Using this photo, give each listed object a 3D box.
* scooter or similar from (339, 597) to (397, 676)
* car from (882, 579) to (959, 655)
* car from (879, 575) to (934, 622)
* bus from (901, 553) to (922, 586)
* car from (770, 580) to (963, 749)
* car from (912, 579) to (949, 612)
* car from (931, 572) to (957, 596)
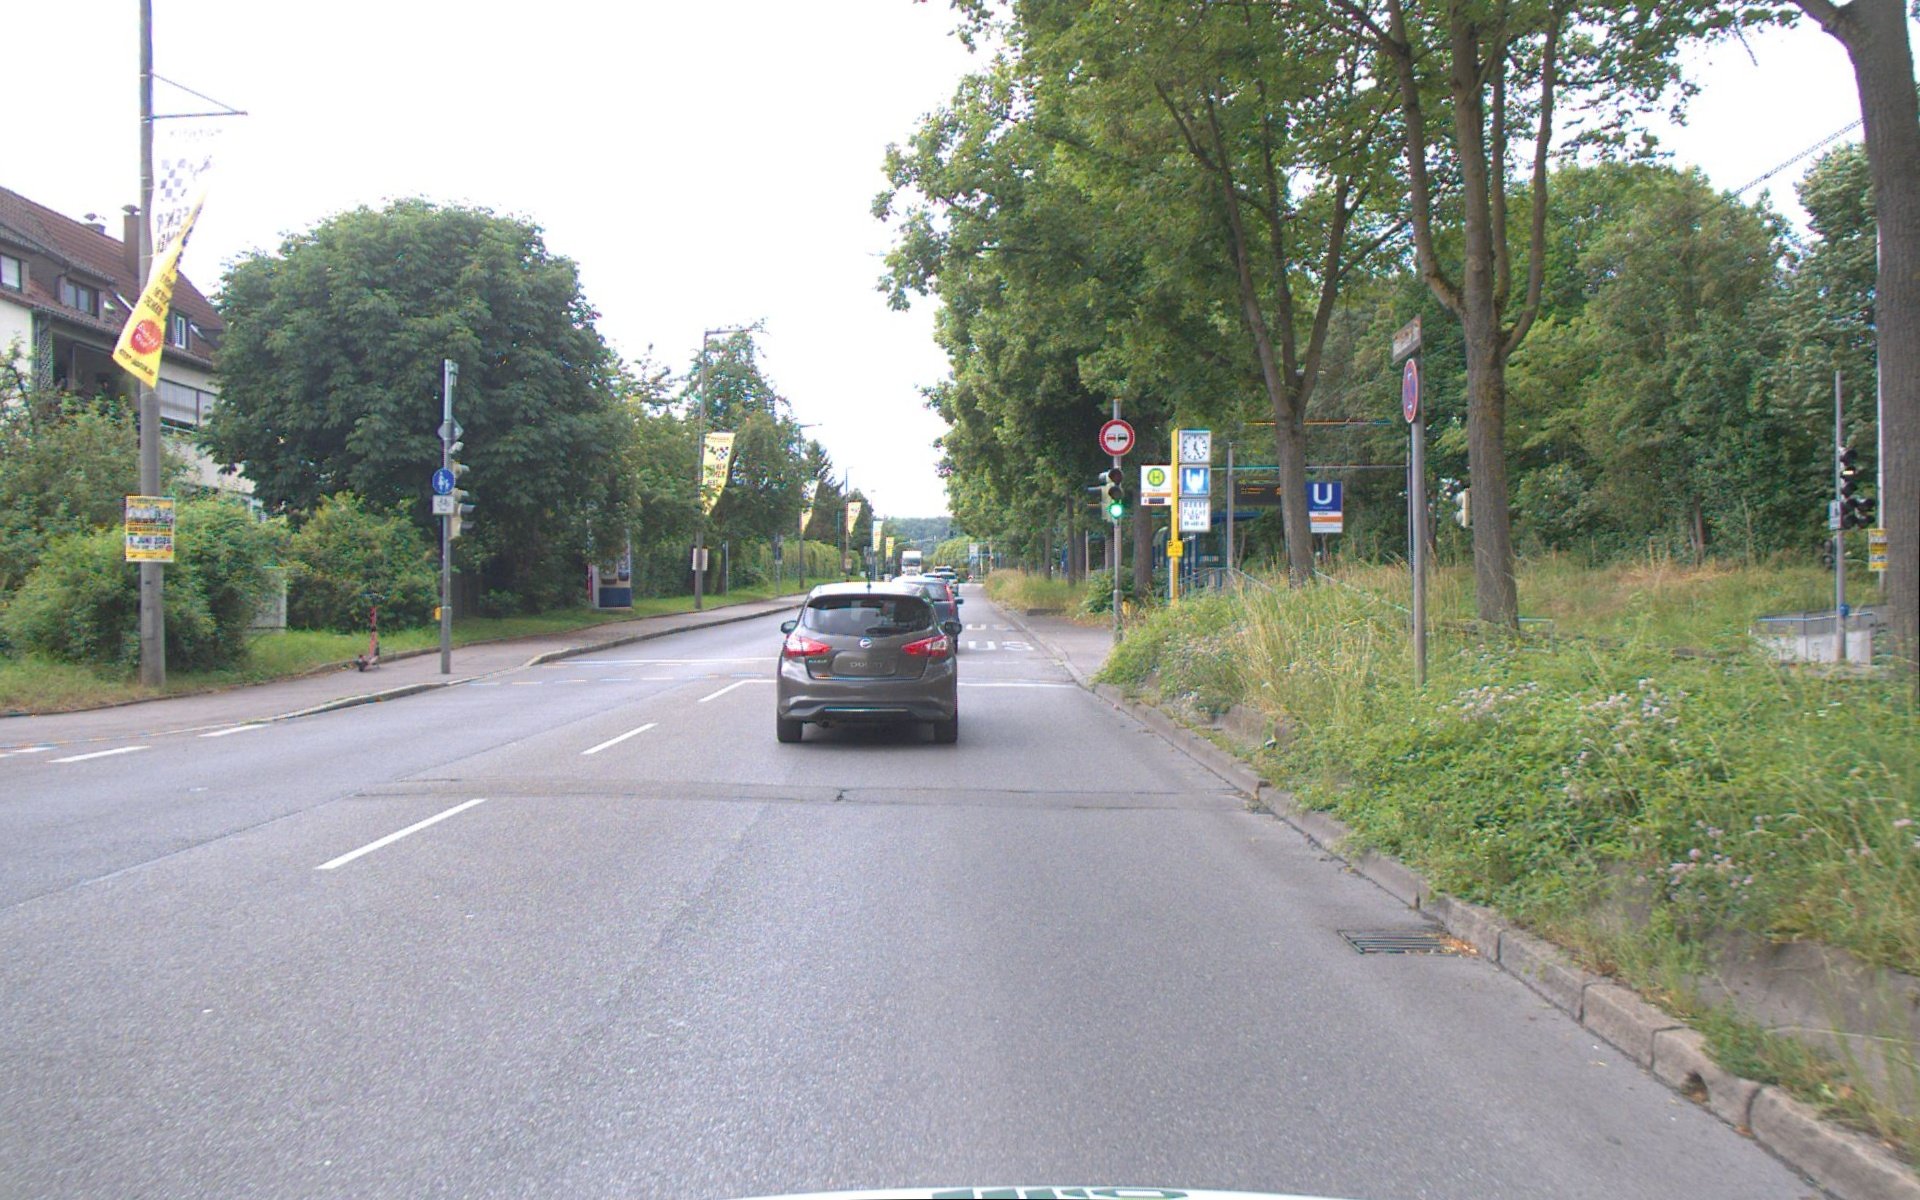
[{"bbox_3d":[-9.966,0.595,27.889,0.453,1.281,1.426,0,0,1],"label":"scooter or similar"},{"bbox_3d":[-0.773,0.308,33.674,1.471,1.466,3.541,0,0,0],"label":"car"},{"bbox_3d":[-1.683,-0.060,52.757,1.657,1.466,3.541,0,0,0],"label":"car"},{"bbox_3d":[-6.277,-3.941,214.414,2.436,4.096,10.217,0,1,0],"label":"bus"},{"bbox_3d":[-0.849,0.580,16.873,1.747,1.533,3.696,0,0,0],"label":"car"},{"bbox_3d":[-1.333,-0.230,75.693,1.657,1.466,3.541,0,0,0],"label":"car"},{"bbox_3d":[-1.020,-1.020,105.199,1.657,1.466,3.541,0,0,0],"label":"car"}]
